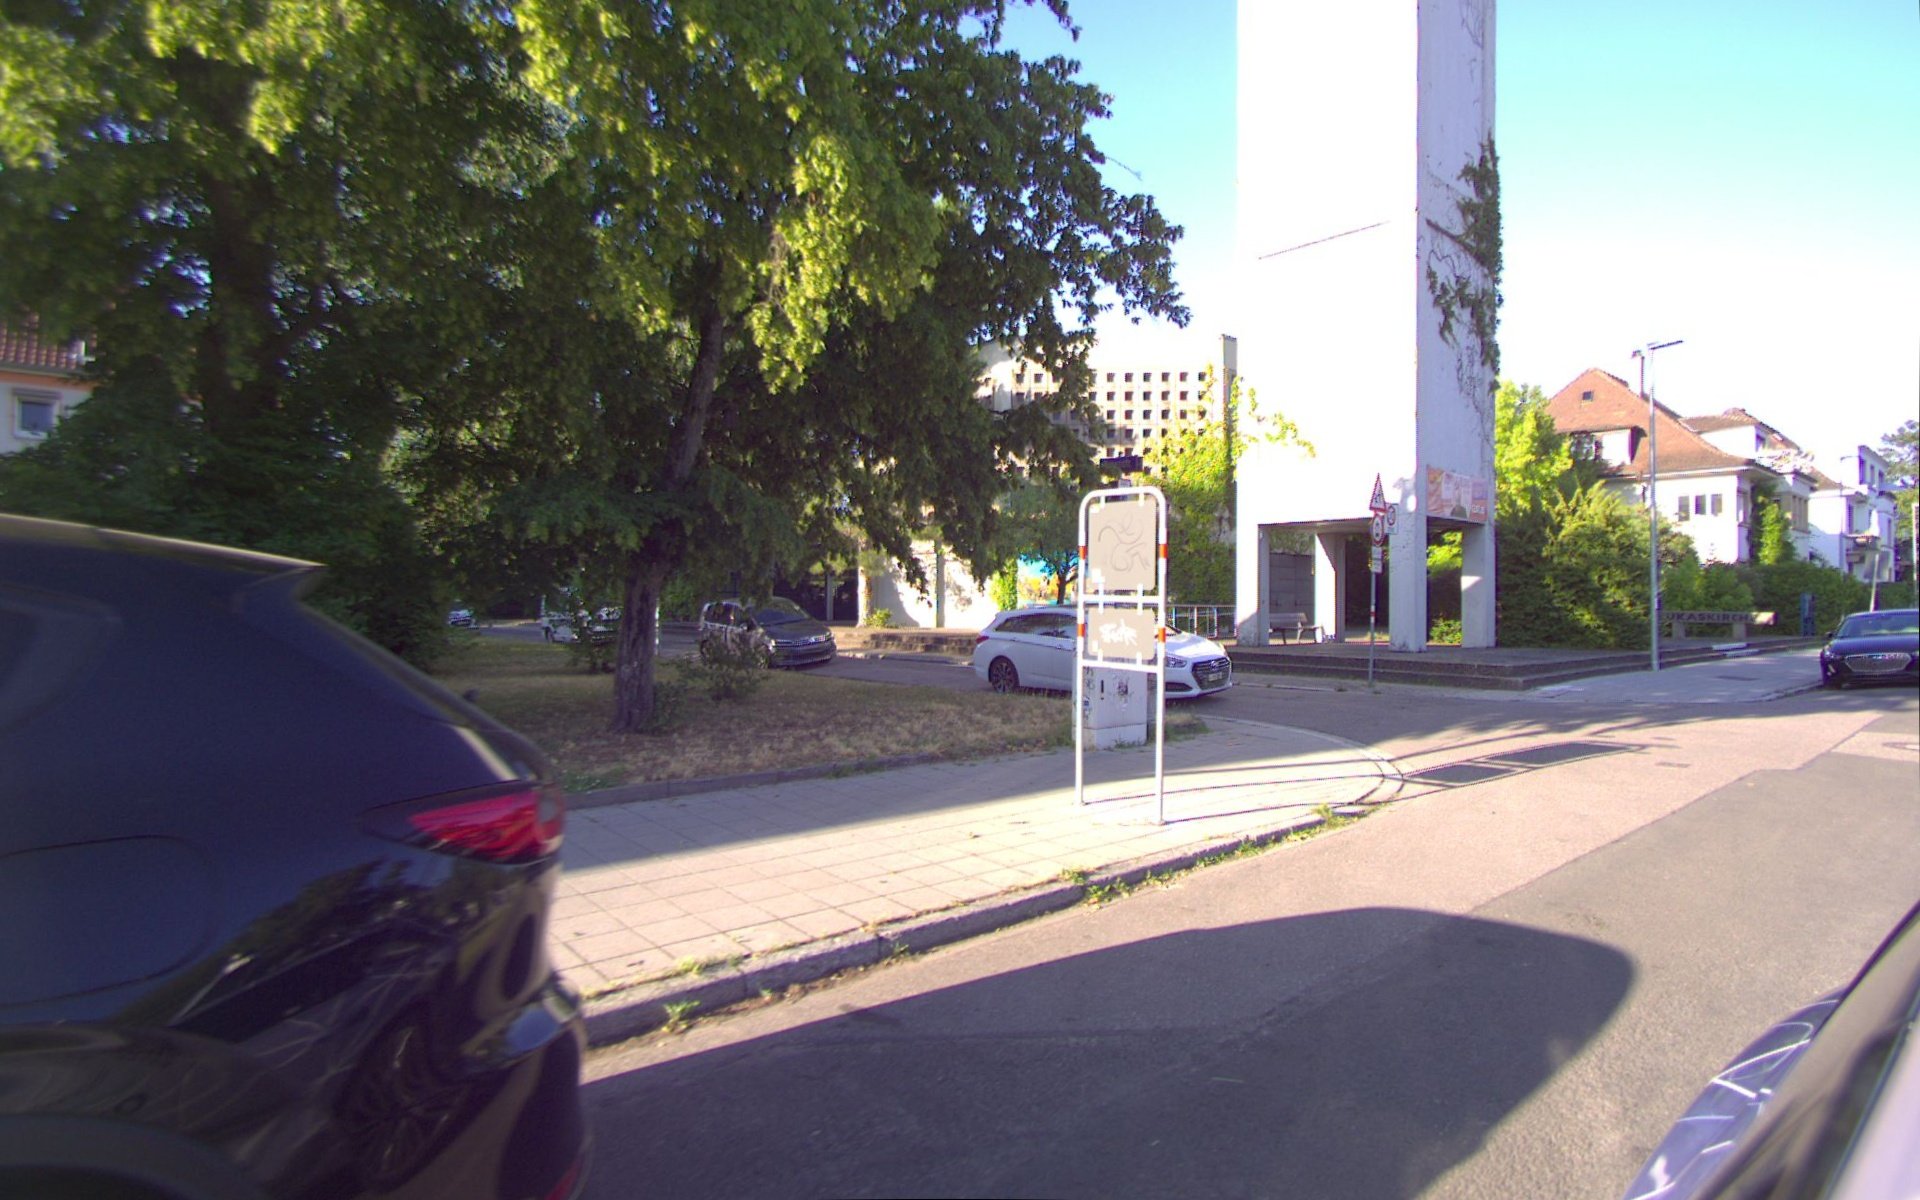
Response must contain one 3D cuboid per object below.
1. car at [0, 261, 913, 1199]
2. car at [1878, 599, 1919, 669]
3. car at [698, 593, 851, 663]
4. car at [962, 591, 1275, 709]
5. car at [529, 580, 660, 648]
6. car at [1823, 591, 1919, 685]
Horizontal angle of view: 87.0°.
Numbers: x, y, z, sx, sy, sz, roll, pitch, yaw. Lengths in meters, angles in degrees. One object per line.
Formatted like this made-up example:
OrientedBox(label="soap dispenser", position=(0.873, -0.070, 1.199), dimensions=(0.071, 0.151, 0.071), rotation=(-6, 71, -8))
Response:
OrientedBox(label="car", position=(-2.559, 0.555, 0.985), dimensions=(4.945, 1.754, 1.835), rotation=(-1, -2, -42))
OrientedBox(label="car", position=(23.184, 0.761, 23.858), dimensions=(4.101, 1.548, 1.689), rotation=(1, -5, -41))
OrientedBox(label="car", position=(-4.560, 0.635, 24.422), dimensions=(1.964, 1.529, 4.125), rotation=(0, -1, -38))
OrientedBox(label="car", position=(2.386, 0.710, 16.392), dimensions=(1.969, 1.504, 4.854), rotation=(-5, 2, -41))
OrientedBox(label="car", position=(-12.121, 0.423, 33.407), dimensions=(2.139, 1.996, 5.005), rotation=(-4, 3, -44))
OrientedBox(label="car", position=(18.314, 0.668, 19.411), dimensions=(4.540, 1.582, 1.824), rotation=(0, -6, -40))
